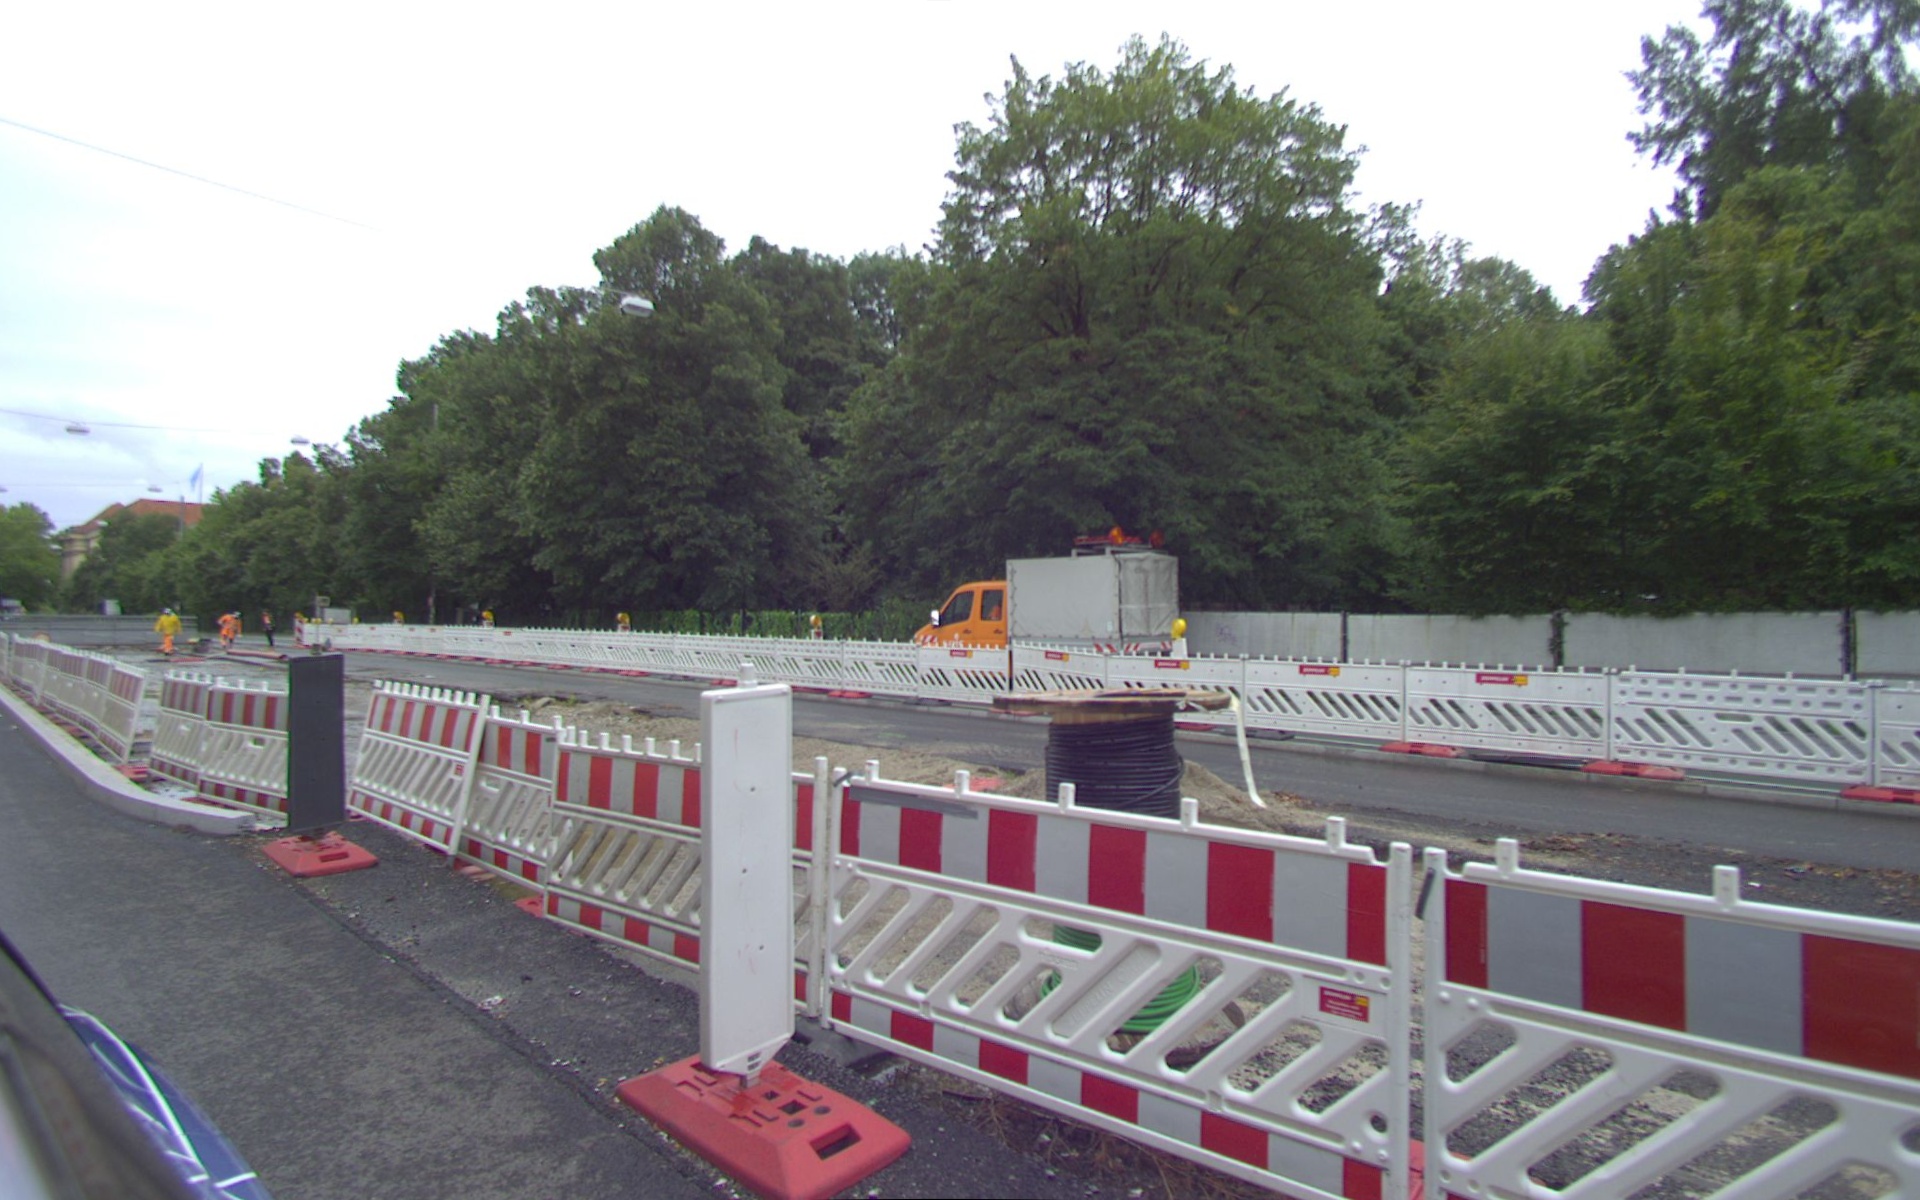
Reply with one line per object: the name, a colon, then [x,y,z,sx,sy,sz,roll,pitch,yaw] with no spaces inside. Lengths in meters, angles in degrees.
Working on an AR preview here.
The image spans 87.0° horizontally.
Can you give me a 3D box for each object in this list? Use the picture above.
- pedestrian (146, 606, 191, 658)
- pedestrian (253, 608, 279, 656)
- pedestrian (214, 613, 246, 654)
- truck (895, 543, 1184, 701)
pedestrian: [-28.530,1.163,36.490,0.849,1.850,0.874,1,-2,4]
pedestrian: [-29.017,1.347,42.325,0.657,1.985,0.808,2,-2,-21]
pedestrian: [-30.344,1.384,42.067,0.887,1.701,0.912,3,-3,-44]
truck: [1.466,0.460,21.302,2.097,2.871,6.216,3,-3,-44]
